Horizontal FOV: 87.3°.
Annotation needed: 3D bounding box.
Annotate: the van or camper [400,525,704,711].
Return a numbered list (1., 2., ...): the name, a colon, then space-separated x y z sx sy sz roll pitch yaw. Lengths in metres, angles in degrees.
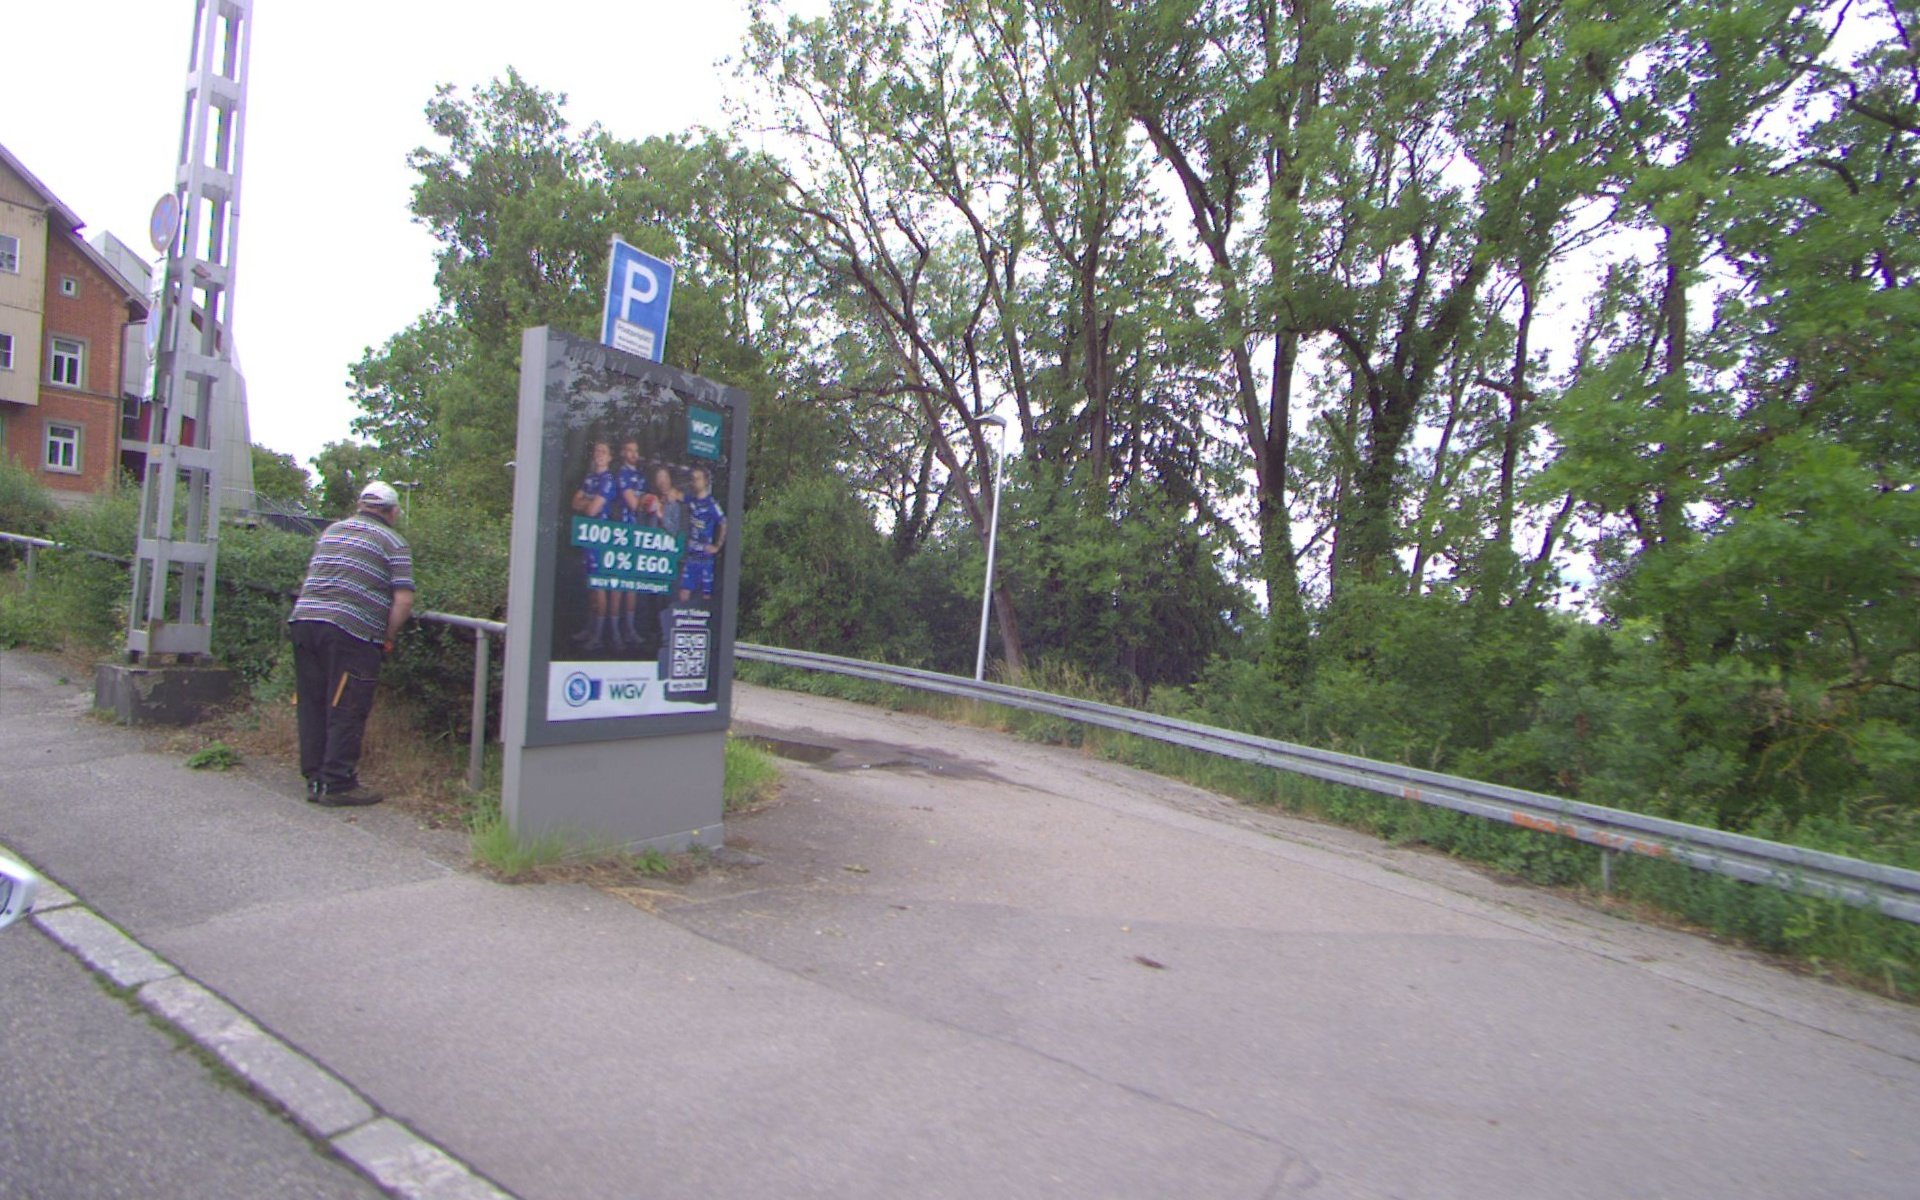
1. van or camper: -7.076 0.162 16.967 6.093 2.361 2.211 7 2 42

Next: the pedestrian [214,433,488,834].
1. pedestrian: -3.254 0.142 5.388 0.933 1.909 0.812 7 3 32
